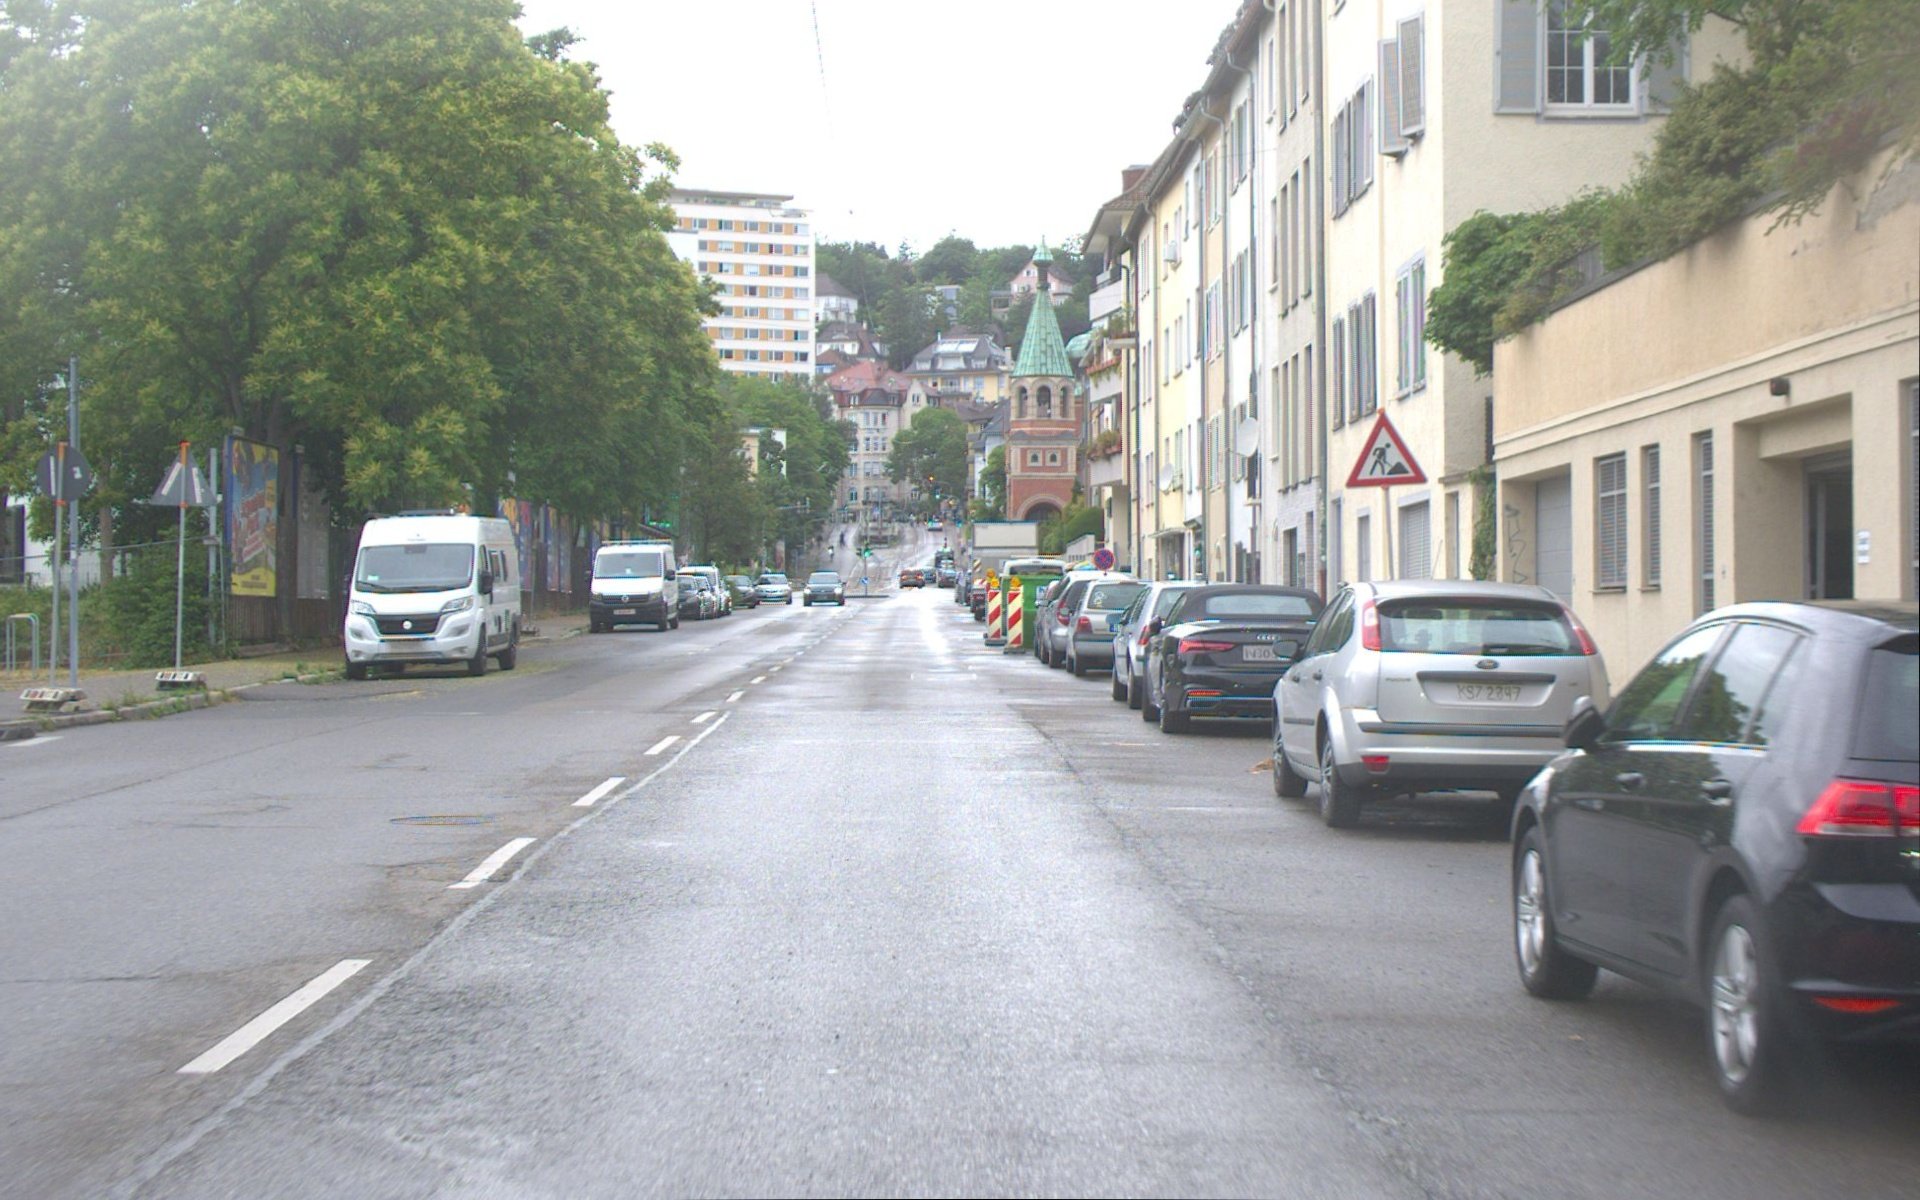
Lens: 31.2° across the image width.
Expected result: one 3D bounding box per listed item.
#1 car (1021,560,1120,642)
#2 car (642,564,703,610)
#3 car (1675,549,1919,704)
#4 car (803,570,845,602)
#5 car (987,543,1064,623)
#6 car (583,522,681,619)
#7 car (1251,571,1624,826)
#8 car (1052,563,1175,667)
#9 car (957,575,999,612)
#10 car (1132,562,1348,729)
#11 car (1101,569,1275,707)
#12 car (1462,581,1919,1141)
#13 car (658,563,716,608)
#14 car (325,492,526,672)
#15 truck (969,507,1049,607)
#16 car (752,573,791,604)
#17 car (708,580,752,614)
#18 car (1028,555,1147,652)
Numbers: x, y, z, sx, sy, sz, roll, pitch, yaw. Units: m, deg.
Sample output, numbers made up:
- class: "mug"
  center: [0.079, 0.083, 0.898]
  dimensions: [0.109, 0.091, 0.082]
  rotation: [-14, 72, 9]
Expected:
- class: "car"
  center: [1.997, -0.011, 62.828]
  dimensions: [1.626, 1.406, 3.842]
  rotation: [1, 1, 0]
- class: "car"
  center: [-8.999, -0.402, 107.814]
  dimensions: [1.682, 1.394, 3.911]
  rotation: [-1, 0, -2]
- class: "car"
  center: [8.447, 0.235, 33.399]
  dimensions: [1.886, 1.396, 4.204]
  rotation: [0, 0, -4]
- class: "car"
  center: [-6.133, -0.638, 154.547]
  dimensions: [1.805, 1.411, 4.384]
  rotation: [0, 0, -3]
- class: "car"
  center: [1.622, -0.441, 86.664]
  dimensions: [1.817, 1.917, 4.239]
  rotation: [-1, 1, 0]
- class: "car"
  center: [-8.792, -0.798, 92.544]
  dimensions: [2.012, 2.478, 5.983]
  rotation: [-1, 1, 0]
- class: "car"
  center: [2.957, 0.606, 22.112]
  dimensions: [1.688, 1.449, 4.235]
  rotation: [1, -1, -1]
- class: "car"
  center: [2.281, 0.198, 51.815]
  dimensions: [1.558, 1.449, 3.760]
  rotation: [1, 1, -1]
- class: "car"
  center: [0.830, -0.316, 158.337]
  dimensions: [1.817, 1.647, 4.076]
  rotation: [1, 0, -1]
- class: "car"
  center: [2.607, 0.390, 32.745]
  dimensions: [1.629, 1.449, 3.760]
  rotation: [1, 1, -1]
- class: "car"
  center: [2.576, 0.394, 39.489]
  dimensions: [1.629, 1.449, 3.760]
  rotation: [1, 1, -1]
- class: "car"
  center: [2.878, 0.704, 11.357]
  dimensions: [1.688, 1.449, 4.235]
  rotation: [1, 1, -1]
- class: "car"
  center: [-9.101, -0.468, 114.855]
  dimensions: [1.682, 1.457, 4.277]
  rotation: [-1, 0, -2]
- class: "car"
  center: [-8.271, -0.306, 53.792]
  dimensions: [2.230, 2.570, 6.538]
  rotation: [-2, 1, -2]
- class: "truck"
  center: [1.568, -1.380, 112.883]
  dimensions: [2.469, 3.161, 7.036]
  rotation: [0, 0, 0]
- class: "car"
  center: [-8.990, -0.540, 164.093]
  dimensions: [1.709, 1.446, 4.294]
  rotation: [-1, 0, -2]
- class: "car"
  center: [-9.930, -0.110, 148.801]
  dimensions: [1.803, 1.446, 4.658]
  rotation: [-1, 0, -3]
- class: "car"
  center: [2.089, 0.031, 57.234]
  dimensions: [1.716, 1.519, 4.000]
  rotation: [1, 1, -1]
